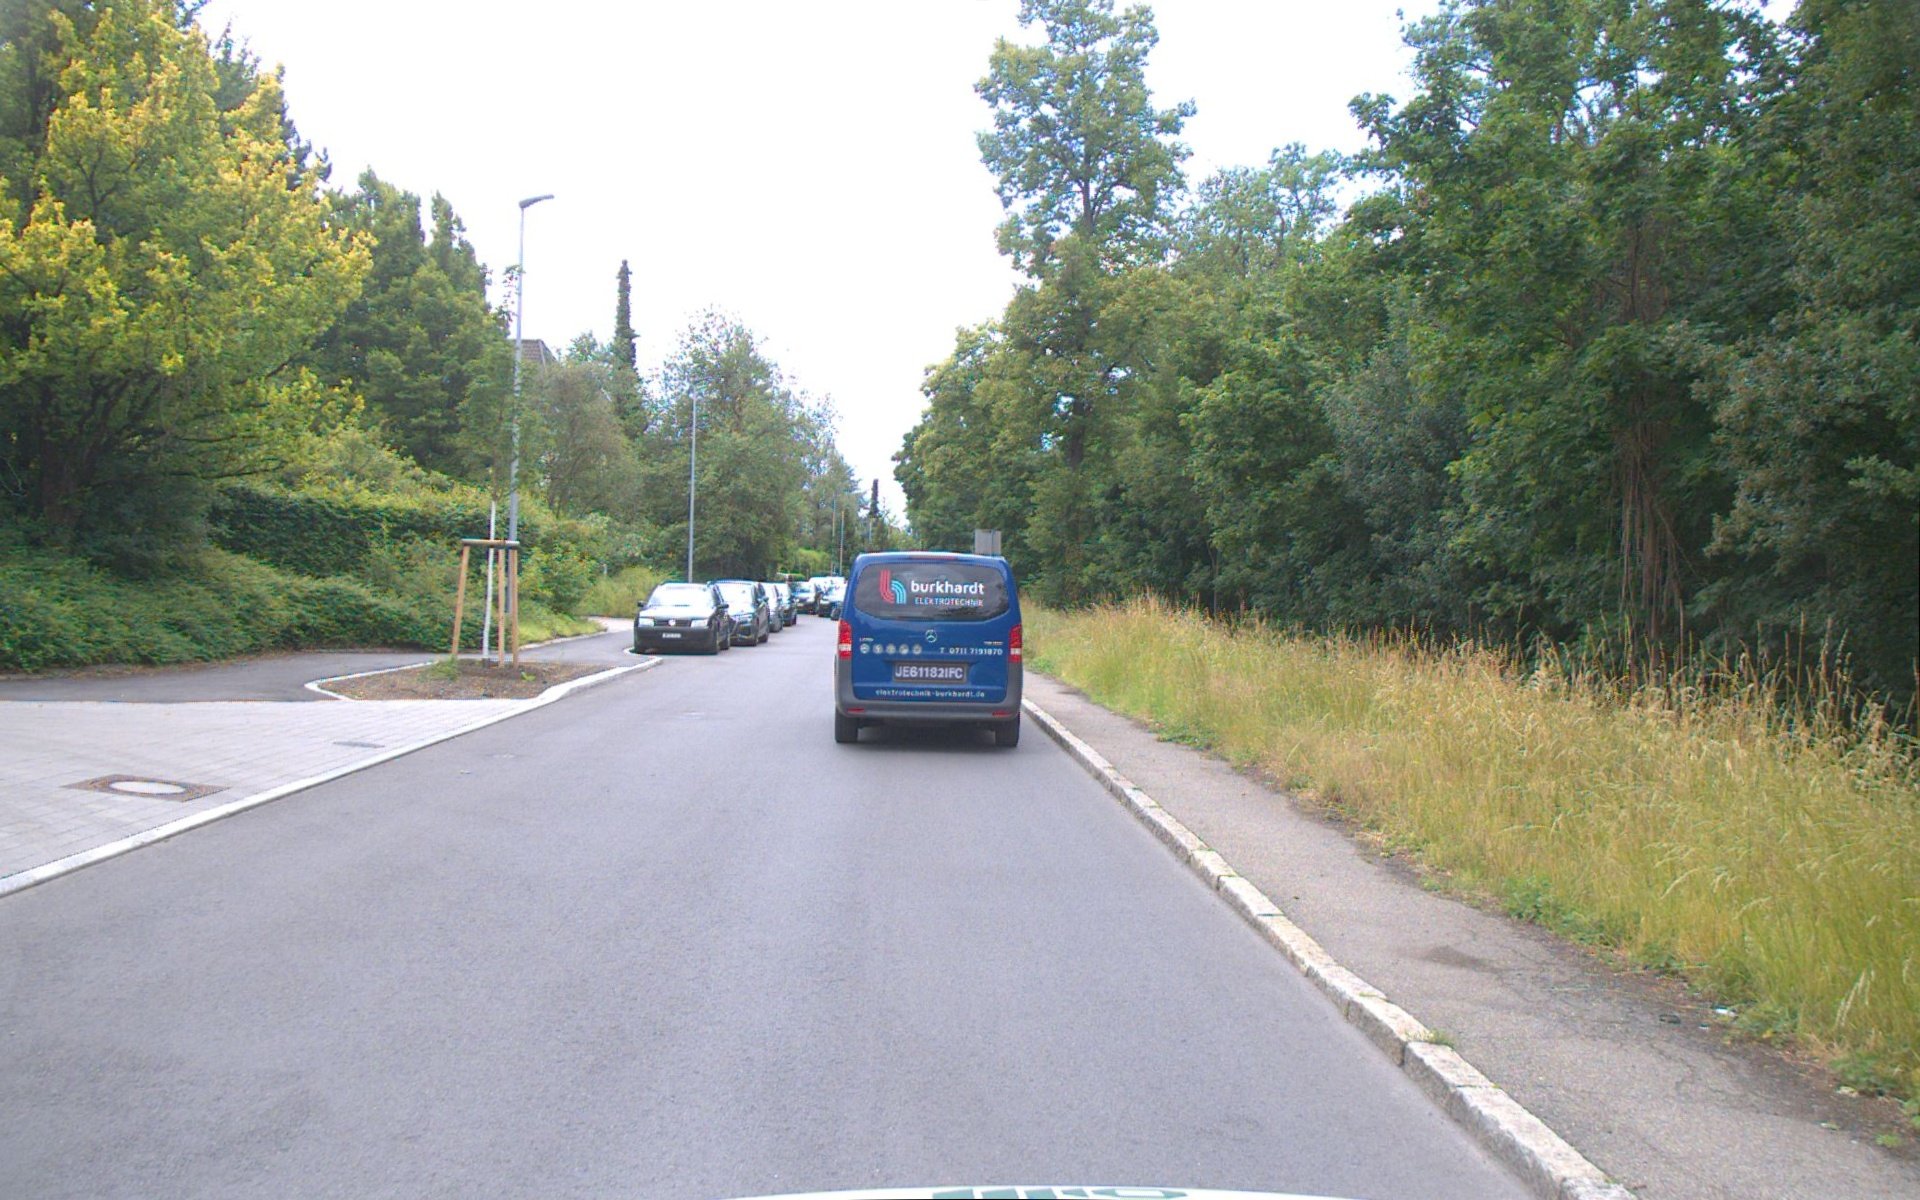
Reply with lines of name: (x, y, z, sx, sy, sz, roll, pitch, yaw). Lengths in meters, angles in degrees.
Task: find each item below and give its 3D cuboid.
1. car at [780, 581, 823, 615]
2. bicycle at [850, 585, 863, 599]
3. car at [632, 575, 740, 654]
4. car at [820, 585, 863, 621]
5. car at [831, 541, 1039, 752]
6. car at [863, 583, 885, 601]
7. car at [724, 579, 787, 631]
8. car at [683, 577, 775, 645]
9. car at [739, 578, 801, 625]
car: (-7.326, -0.094, 76.935, 1.590, 1.475, 3.969, 2, 0, 0)
bicycle: (-10.292, -0.818, 164.144, 0.888, 1.273, 2.916, 5, 0, 1)
car: (-5.760, 0.269, 35.185, 1.649, 1.508, 4.691, 2, 0, -2)
car: (-5.226, 0.129, 73.397, 1.745, 1.450, 4.487, 3, 0, -3)
car: (-0.358, 0.404, 17.426, 1.851, 1.876, 3.997, 3, 1, -4)
car: (-8.695, -0.806, 167.068, 1.798, 1.659, 4.301, 5, 0, 1)
car: (-6.172, 0.120, 50.261, 1.592, 1.457, 4.348, 2, 0, -3)
car: (-5.549, 0.229, 40.167, 1.672, 1.508, 4.494, 2, 0, -2)
car: (-6.470, 0.040, 56.741, 1.743, 1.456, 5.102, 3, 0, -3)
